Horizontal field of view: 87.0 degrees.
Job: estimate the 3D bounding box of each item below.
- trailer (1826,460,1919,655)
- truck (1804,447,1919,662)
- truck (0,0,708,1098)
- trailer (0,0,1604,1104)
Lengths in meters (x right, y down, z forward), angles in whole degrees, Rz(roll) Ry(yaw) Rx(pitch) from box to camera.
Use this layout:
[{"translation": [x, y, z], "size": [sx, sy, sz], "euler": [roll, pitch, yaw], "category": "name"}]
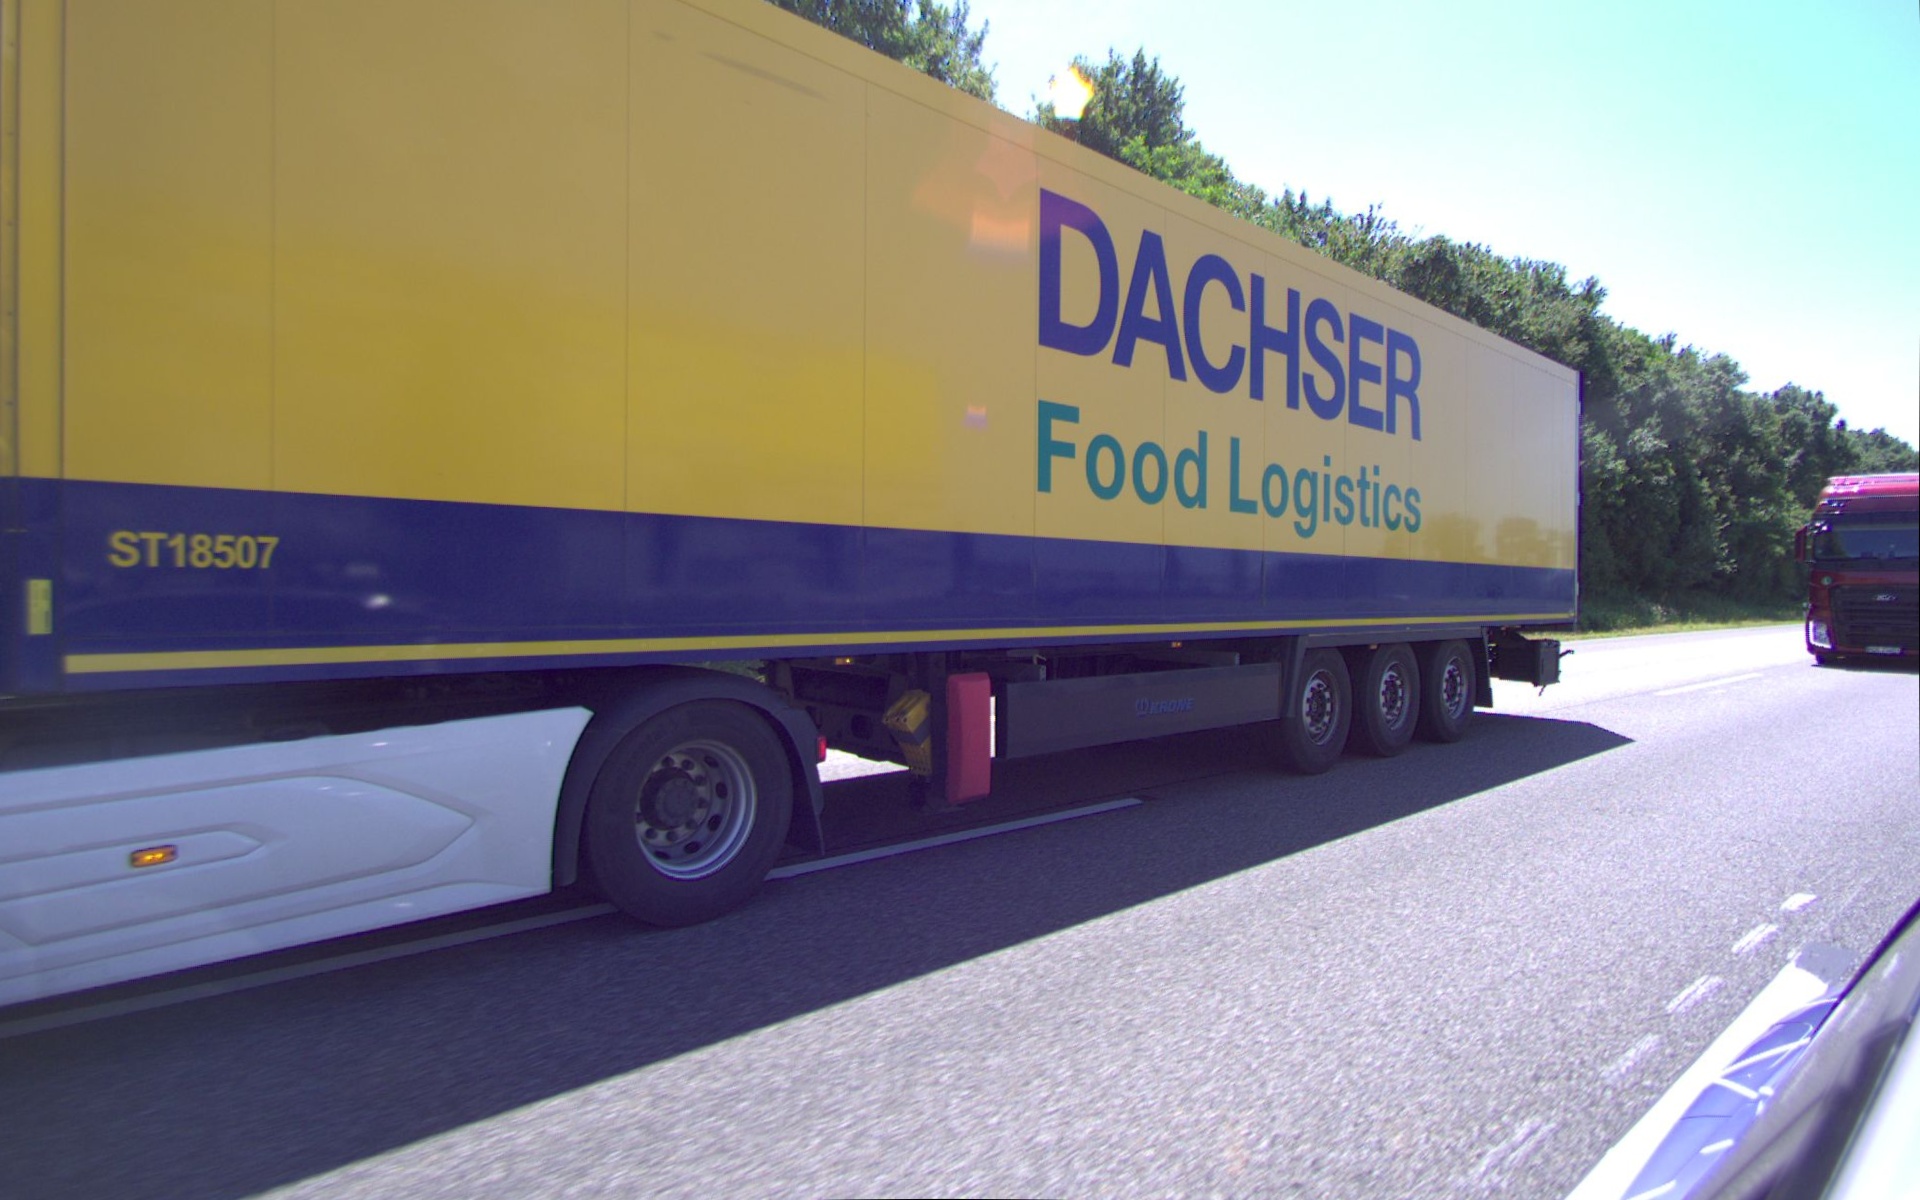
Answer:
[{"translation": [25.330, -0.952, 26.121], "size": [13.599, 4.121, 2.882], "euler": [-1, 1, -42], "category": "trailer"}, {"translation": [20.274, -0.890, 21.498], "size": [5.673, 4.121, 2.866], "euler": [0, 1, -42], "category": "truck"}, {"translation": [-4.136, -0.710, 3.210], "size": [5.943, 4.121, 2.682], "euler": [0, 1, -41], "category": "truck"}, {"translation": [1.373, -0.745, 8.066], "size": [13.595, 4.121, 2.682], "euler": [0, 1, -41], "category": "trailer"}]
